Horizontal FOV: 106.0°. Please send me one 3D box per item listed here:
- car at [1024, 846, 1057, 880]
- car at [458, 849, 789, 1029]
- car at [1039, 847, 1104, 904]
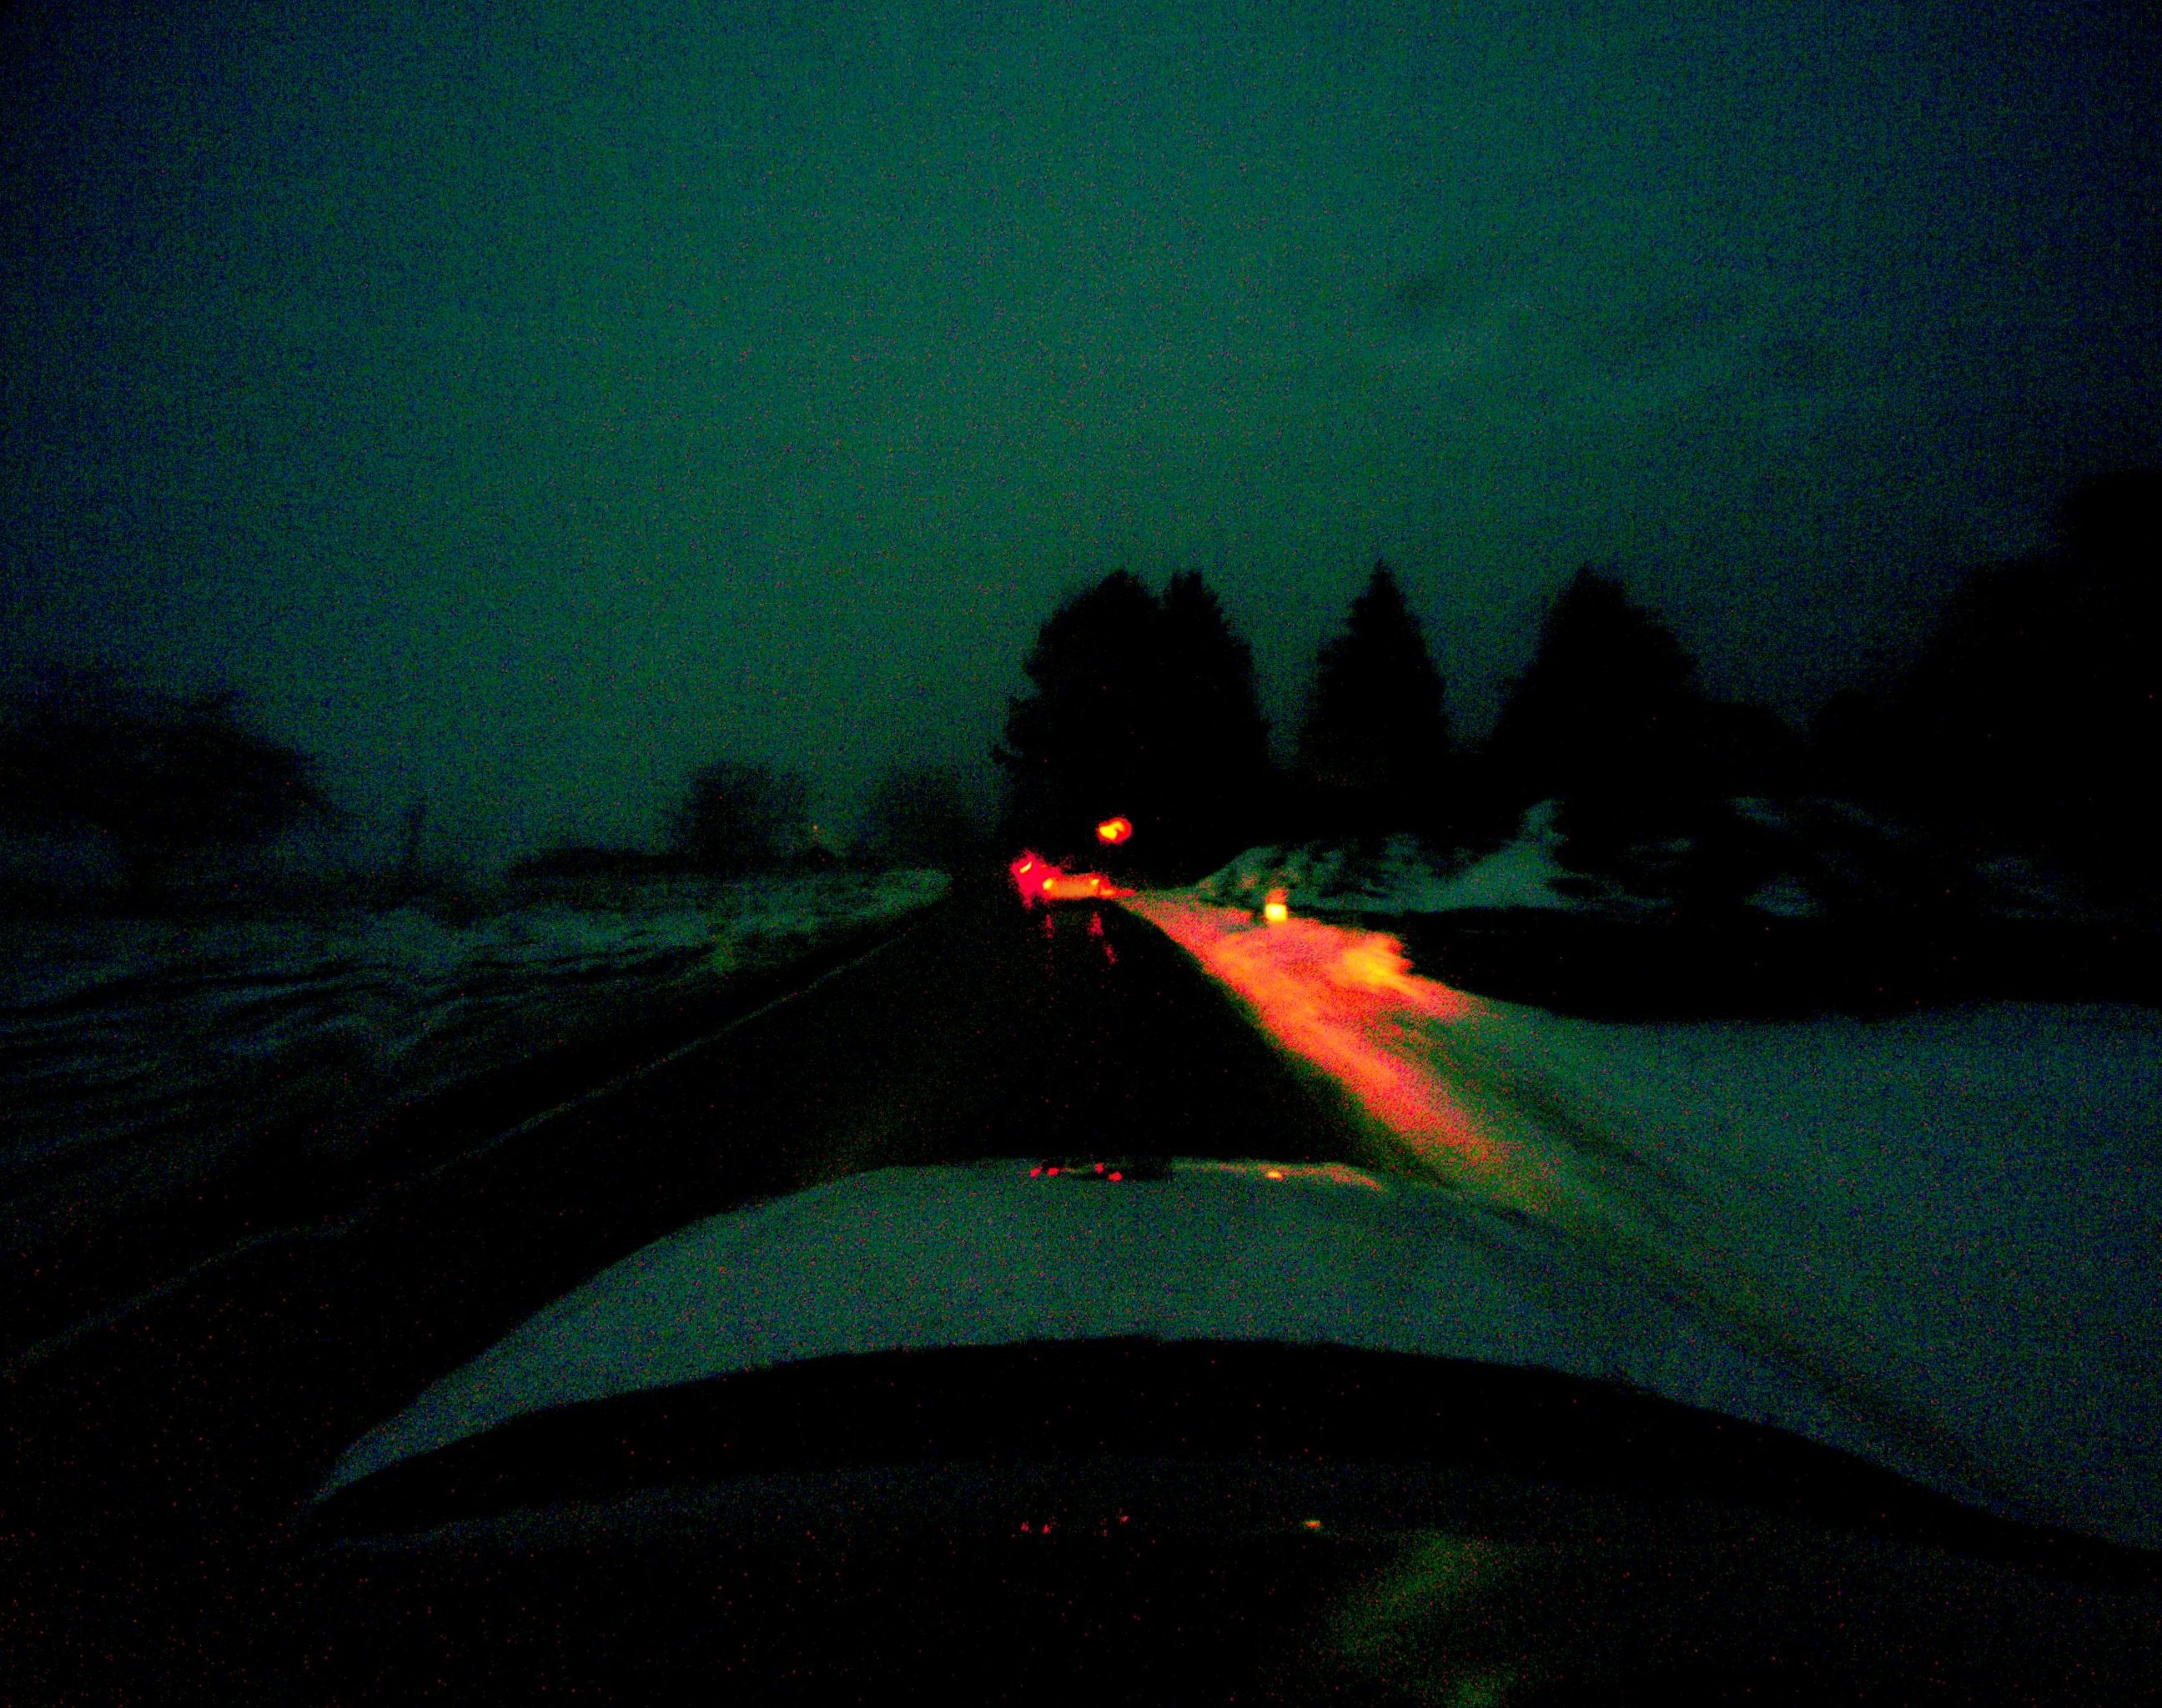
[{"bbox_3d":[-1.971,0.427,39.275,1.475,1.508,3.049,-1,0,-3],"label":"car"},{"bbox_3d":[-4.472,0.750,8.482,1.515,1.508,3.057,-1,-1,5],"label":"car"},{"bbox_3d":[-0.336,0.639,23.807,1.703,1.463,3.995,-1,-2,-3],"label":"car"}]
